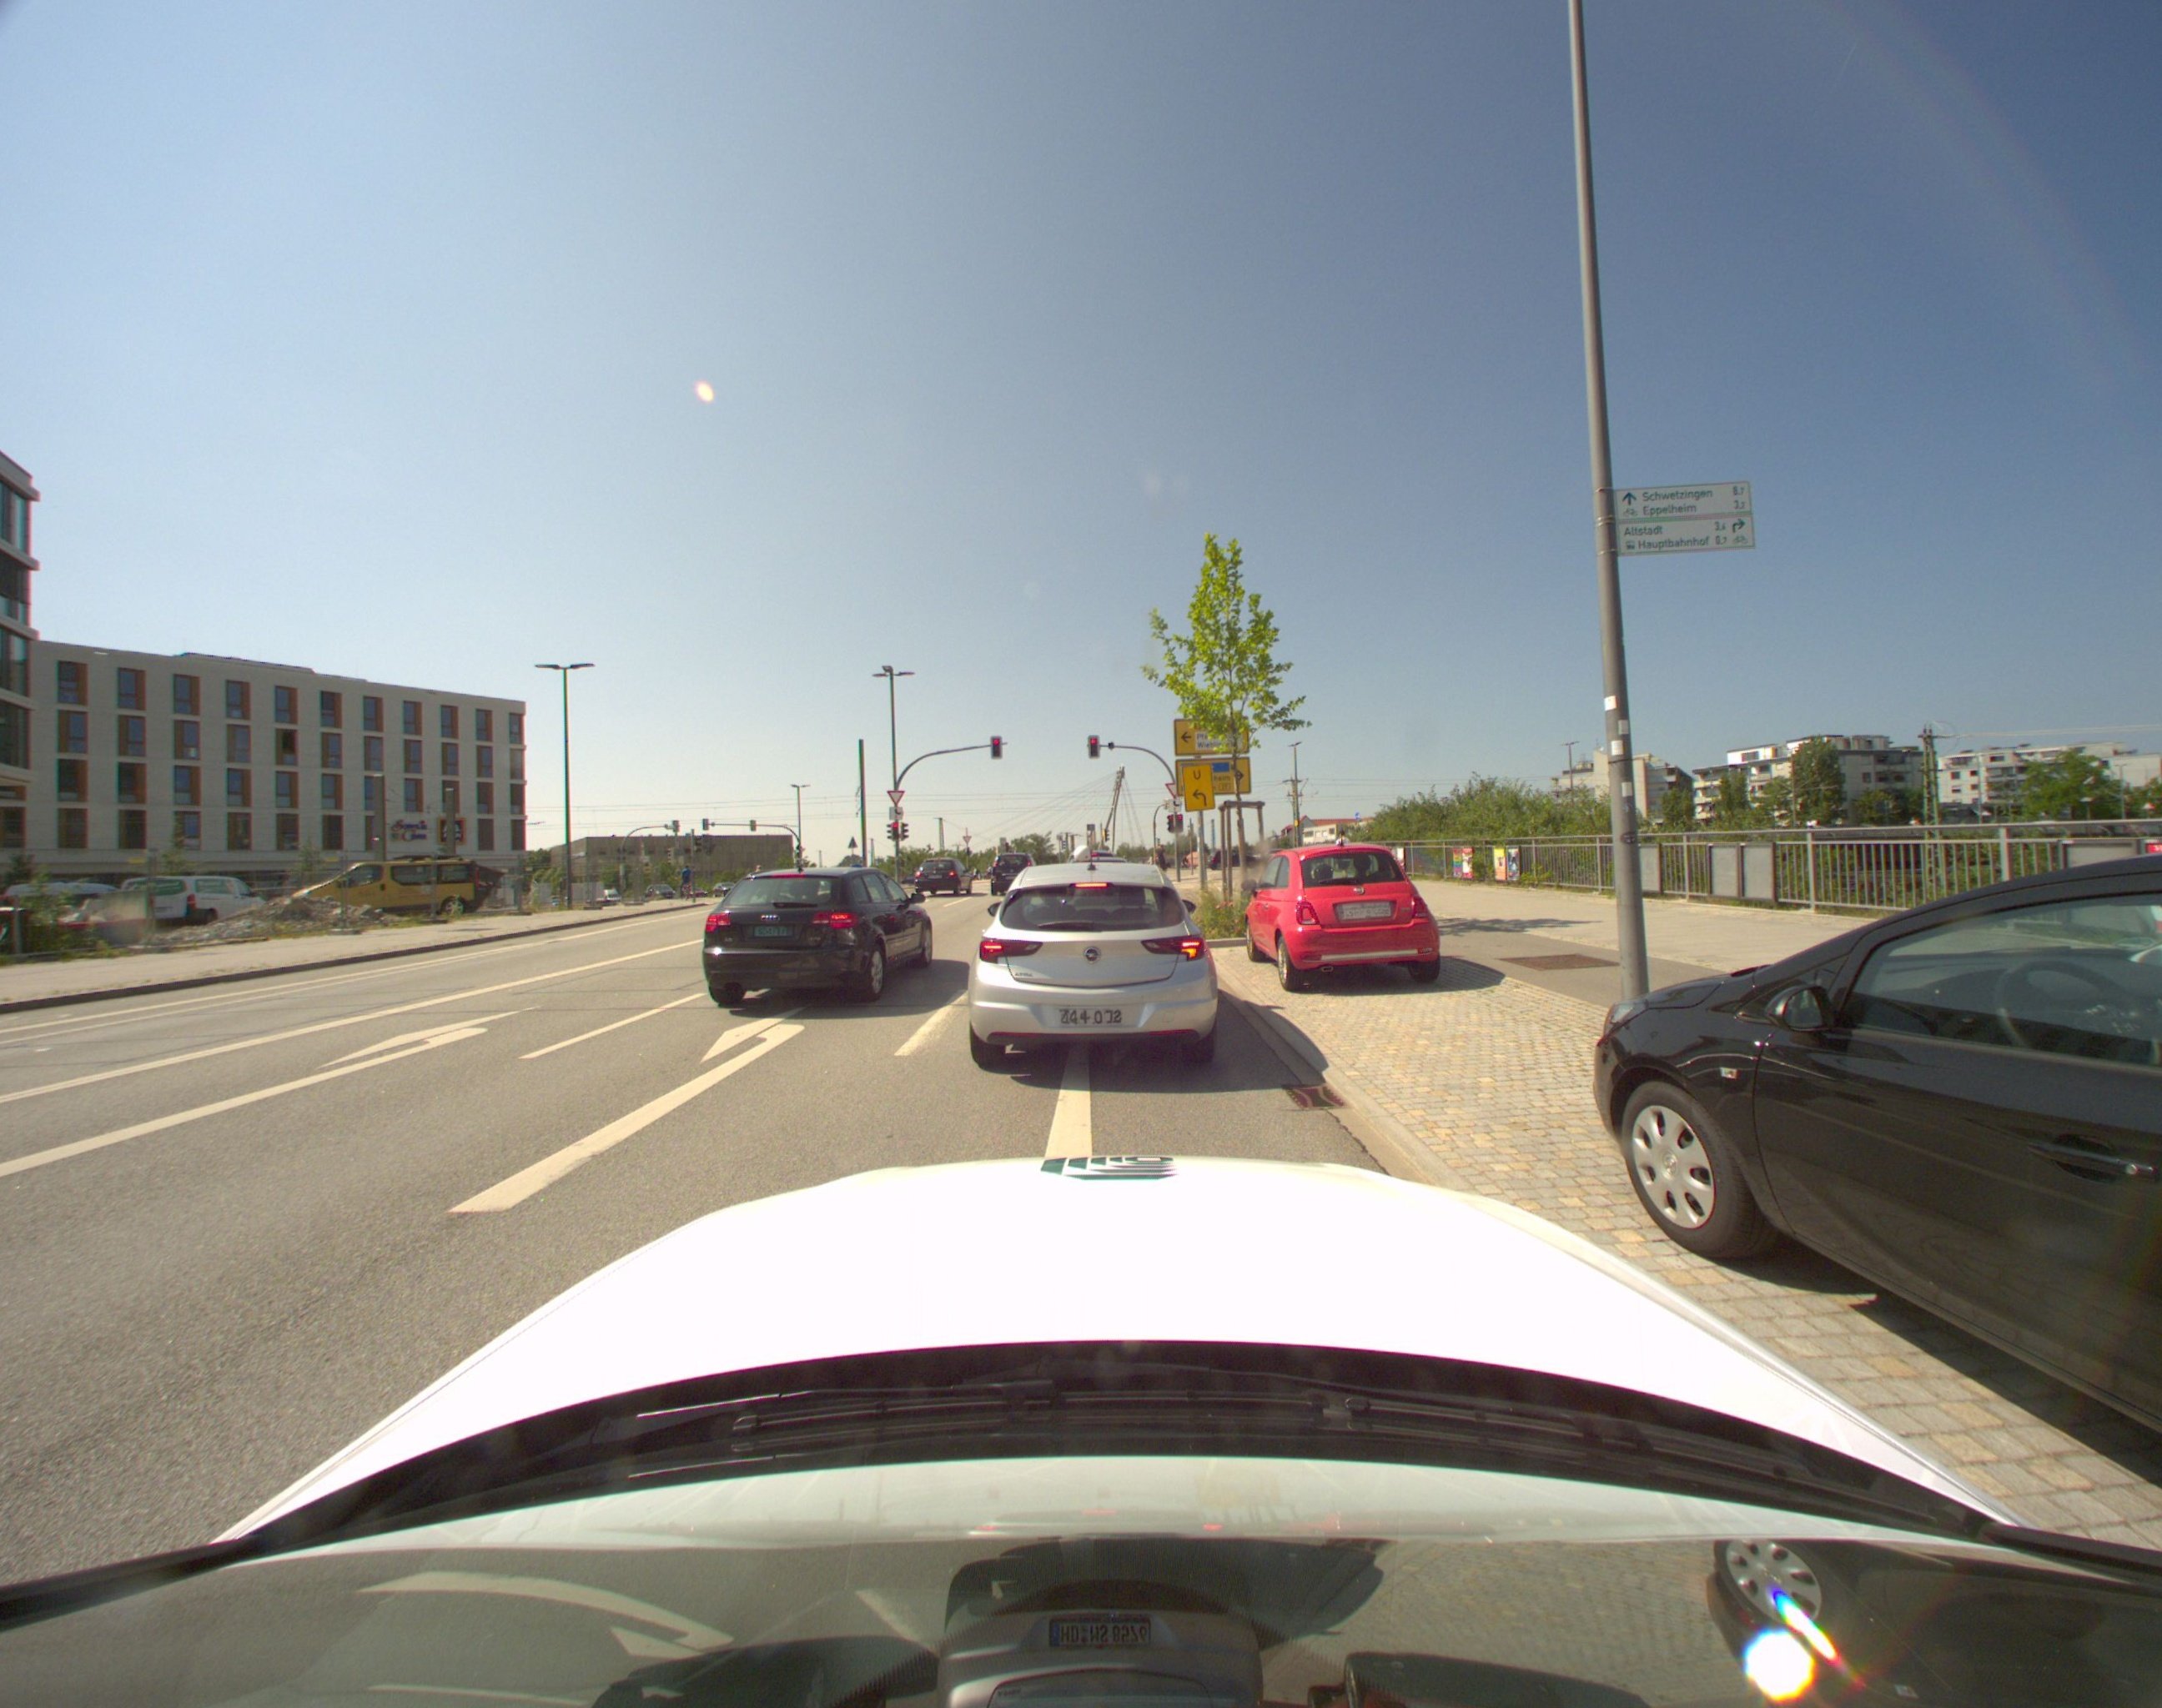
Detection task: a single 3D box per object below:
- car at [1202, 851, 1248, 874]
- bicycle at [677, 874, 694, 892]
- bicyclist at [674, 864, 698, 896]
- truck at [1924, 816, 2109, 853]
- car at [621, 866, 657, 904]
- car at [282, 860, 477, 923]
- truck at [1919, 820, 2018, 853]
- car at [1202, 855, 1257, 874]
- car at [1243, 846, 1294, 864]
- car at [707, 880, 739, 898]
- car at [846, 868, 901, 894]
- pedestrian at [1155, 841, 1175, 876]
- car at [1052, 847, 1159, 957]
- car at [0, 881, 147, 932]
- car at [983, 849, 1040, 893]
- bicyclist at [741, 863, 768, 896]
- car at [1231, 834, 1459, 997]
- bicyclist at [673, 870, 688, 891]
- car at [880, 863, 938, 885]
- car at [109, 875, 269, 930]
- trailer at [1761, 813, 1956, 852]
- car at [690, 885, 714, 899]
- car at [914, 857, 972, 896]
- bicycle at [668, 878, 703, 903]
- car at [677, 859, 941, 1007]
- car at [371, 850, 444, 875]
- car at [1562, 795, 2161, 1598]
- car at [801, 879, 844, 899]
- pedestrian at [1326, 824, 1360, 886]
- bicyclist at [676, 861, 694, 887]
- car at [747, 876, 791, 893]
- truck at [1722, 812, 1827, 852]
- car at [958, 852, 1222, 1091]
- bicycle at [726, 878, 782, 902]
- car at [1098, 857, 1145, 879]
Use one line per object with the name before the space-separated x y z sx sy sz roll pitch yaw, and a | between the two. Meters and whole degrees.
car | 14.214 0.837 80.238 4.009 2.014 1.982 -2 -2 -27
bicycle | -23.158 1.690 47.732 0.605 1.007 2.496 -1 -1 -19
bicyclist | -19.840 1.295 40.932 0.815 1.560 0.868 -1 -2 45
truck | 87.949 -1.761 76.505 17.857 3.204 3.723 0 -1 -14
car | -24.218 1.652 44.600 1.680 2.014 3.962 0 -1 -29
car | -22.675 1.146 26.471 1.974 1.890 4.514 -1 -1 40
truck | 89.963 -1.702 82.538 9.890 3.158 2.492 0 -1 -15
car | 11.065 0.798 60.905 3.769 1.390 1.663 0 -1 -6
car | 17.716 0.120 76.983 4.254 1.673 1.989 -1 -1 -16
car | -36.876 3.607 83.880 1.727 1.741 4.160 1 -1 -44
car | -17.244 2.251 67.564 3.952 2.014 2.010 -1 -1 21
pedestrian | 4.552 0.243 44.197 0.747 1.863 0.744 1 -2 -45
car | 0.417 0.755 14.268 1.629 1.674 3.745 0 -1 1
car | -33.710 1.681 27.277 1.809 1.508 3.965 0 -1 -27
car | -2.628 0.651 31.770 1.797 1.622 3.917 0 -1 1
bicyclist | -15.584 1.202 38.867 0.942 1.569 0.823 0 -1 1
car | 2.991 0.595 10.087 1.662 1.539 3.920 -3 0 3
bicyclist | -21.913 1.442 44.569 0.732 1.175 0.653 0 -1 -28
car | -12.898 1.524 61.206 3.788 1.629 1.864 0 -1 14
car | -31.082 1.623 28.595 2.003 1.707 4.526 0 -1 -23
trailer | 68.065 -1.787 71.220 17.225 3.204 3.723 0 -1 -14
car | -43.109 4.309 92.641 1.692 1.455 3.955 1 -1 -37
car | -5.224 0.846 31.182 1.581 1.395 3.340 -1 -1 1
bicycle | -19.916 1.827 41.001 0.733 1.134 2.501 -7 2 -44
car | -2.955 0.790 9.801 1.699 1.412 4.001 0 -1 2
car | -54.295 0.704 65.697 3.990 2.014 1.991 0 -1 -12
car | 2.872 0.639 1.727 1.576 1.555 3.548 -4 0 1
car | -20.460 2.752 64.479 3.113 1.439 1.596 -1 -1 30
pedestrian | 7.926 0.028 24.668 0.755 1.830 0.885 0 -1 1
bicyclist | -23.158 1.142 47.665 0.843 1.502 0.655 0 -1 -18
car | -28.576 2.761 74.481 4.429 1.455 2.012 -1 -1 43
truck | 58.538 -1.791 68.810 6.478 3.204 3.721 0 -1 -14
car | 0.103 0.775 7.414 1.685 1.520 4.271 -1 0 1
bicycle | -15.586 1.699 38.861 2.350 1.127 0.677 0 -1 0
car | 3.088 1.091 63.015 3.498 1.641 1.799 0 -1 -2
